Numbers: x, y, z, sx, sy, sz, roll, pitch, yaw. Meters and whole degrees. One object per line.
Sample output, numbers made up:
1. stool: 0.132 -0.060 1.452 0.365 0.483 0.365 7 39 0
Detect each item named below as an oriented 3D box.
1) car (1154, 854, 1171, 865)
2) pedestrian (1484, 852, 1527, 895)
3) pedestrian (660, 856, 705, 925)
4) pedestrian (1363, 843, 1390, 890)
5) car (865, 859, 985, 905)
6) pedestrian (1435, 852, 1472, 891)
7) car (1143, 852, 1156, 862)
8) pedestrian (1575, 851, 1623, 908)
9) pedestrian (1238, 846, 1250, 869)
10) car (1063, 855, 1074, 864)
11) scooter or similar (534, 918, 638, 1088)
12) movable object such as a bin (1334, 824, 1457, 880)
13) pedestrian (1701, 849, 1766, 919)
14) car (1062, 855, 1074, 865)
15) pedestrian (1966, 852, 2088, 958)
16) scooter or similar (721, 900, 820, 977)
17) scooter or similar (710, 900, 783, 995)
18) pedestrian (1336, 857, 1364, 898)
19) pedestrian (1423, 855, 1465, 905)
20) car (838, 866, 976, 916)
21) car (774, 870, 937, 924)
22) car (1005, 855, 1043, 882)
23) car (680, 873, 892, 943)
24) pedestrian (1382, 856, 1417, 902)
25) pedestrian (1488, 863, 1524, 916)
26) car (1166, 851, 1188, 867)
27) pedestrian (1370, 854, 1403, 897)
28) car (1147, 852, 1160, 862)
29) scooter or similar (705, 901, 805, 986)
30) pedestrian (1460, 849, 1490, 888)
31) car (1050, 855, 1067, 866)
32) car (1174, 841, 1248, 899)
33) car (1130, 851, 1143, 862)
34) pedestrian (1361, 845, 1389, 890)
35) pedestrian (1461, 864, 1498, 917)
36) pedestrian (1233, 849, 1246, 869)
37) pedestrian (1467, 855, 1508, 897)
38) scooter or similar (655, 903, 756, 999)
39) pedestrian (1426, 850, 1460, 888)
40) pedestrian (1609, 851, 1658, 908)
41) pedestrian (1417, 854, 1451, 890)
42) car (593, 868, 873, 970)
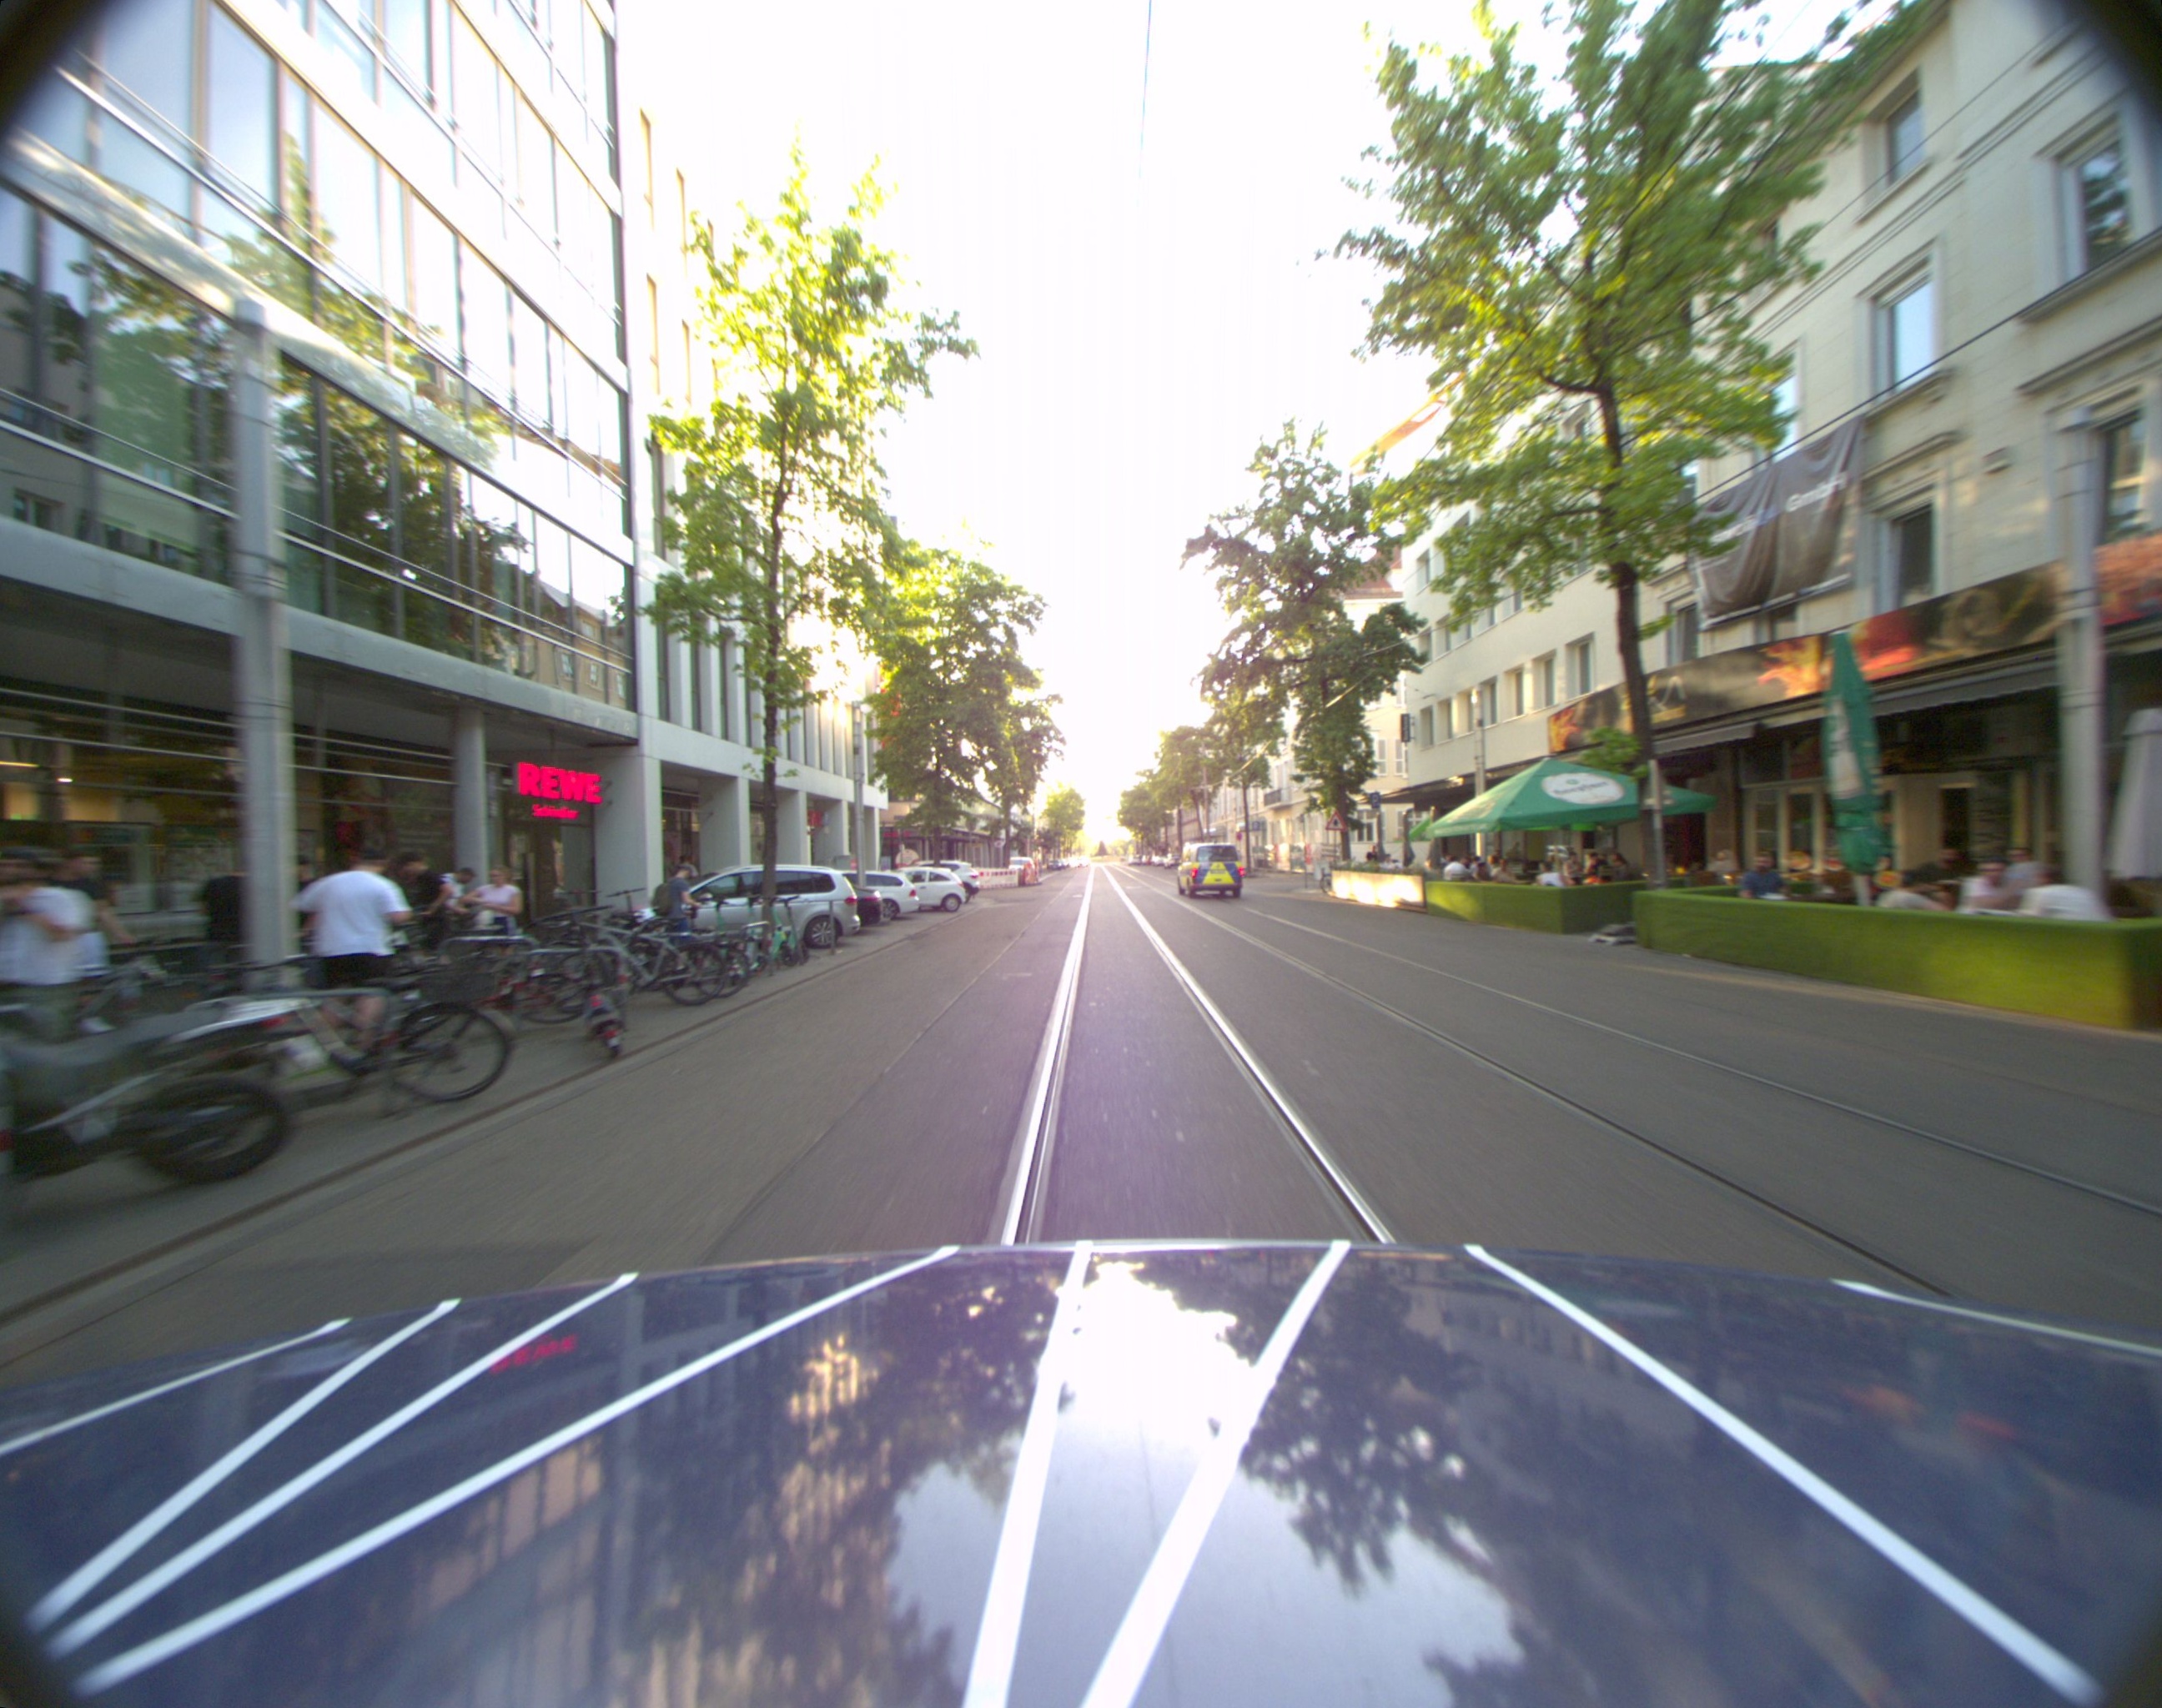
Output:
1. car: 11.316 0.741 106.179 1.998 1.494 4.105 -2 0 1
2. pedestrian: 13.370 0.603 23.949 0.849 1.312 0.882 -2 1 5
3. pedestrian: -10.433 0.946 19.921 0.681 1.760 0.806 -2 -1 1
4. pedestrian: 11.333 0.479 29.153 0.783 1.731 0.640 -3 2 -41
5. car: -6.110 1.066 29.689 4.278 1.662 1.948 1 1 -23
6. pedestrian: 13.203 0.596 26.947 0.887 1.312 0.882 -2 1 4
7. car: 11.939 0.508 132.280 1.998 1.540 4.106 -2 0 3
8. pedestrian: 13.014 0.628 19.102 0.656 1.370 0.765 -2 1 2
9. pedestrian: 14.180 0.305 66.093 0.759 1.874 0.880 -4 1 2
10. car: -2.106 1.002 129.751 1.686 1.471 3.846 -2 0 0
11. scooter or similar: -4.617 1.301 7.051 0.698 1.296 1.389 -1 0 -37
12. movable object such as a bin: 17.003 -0.130 41.298 5.561 2.856 2.643 -1 1 -1
13. pedestrian: 13.363 0.596 15.574 0.656 1.370 0.765 -2 1 2
14. car: -2.092 0.965 124.316 1.902 1.682 4.104 -2 0 -1
15. pedestrian: 12.520 0.654 10.082 0.656 1.323 0.765 -2 1 2
16. scooter or similar: -5.177 1.382 12.700 0.578 1.143 1.404 -1 0 45
17. scooter or similar: -4.821 1.323 11.026 0.483 1.215 1.214 1 1 2
18. pedestrian: 9.399 0.822 26.547 0.694 1.369 0.793 -2 1 3
19. pedestrian: 10.251 0.729 21.502 0.717 1.354 1.012 -2 1 3
20. car: -5.718 1.162 25.045 4.074 1.492 1.791 1 1 -28
21. car: -6.505 1.202 21.933 4.355 1.414 1.825 1 0 -22
22. car: -3.899 0.949 52.513 1.998 1.760 4.671 1 0 3
23. car: -6.768 1.201 17.742 4.355 1.414 1.951 1 1 -21
24. pedestrian: 9.888 0.769 23.646 0.717 1.354 0.872 -2 1 3
25. pedestrian: 10.084 0.836 18.039 0.544 1.211 0.511 -2 1 3
26. car: 11.056 0.518 87.677 1.998 1.727 4.105 -2 0 1
27. pedestrian: 9.953 0.694 24.785 0.717 1.354 0.924 -2 1 3
28. car: 12.022 0.504 126.278 1.998 1.567 4.106 -2 0 3
29. scooter or similar: -5.074 1.363 11.868 1.335 1.175 0.497 -1 0 -36
30. pedestrian: 13.997 0.504 26.994 0.623 1.312 0.842 -2 1 4
31. car: -2.888 0.852 97.437 2.002 1.354 4.105 0 0 1
32. car: 4.816 0.542 28.887 1.998 1.965 4.850 -2 0 1
33. car: 9.324 0.402 128.207 1.998 1.727 4.106 -2 0 3
34. pedestrian: 11.596 0.523 29.957 0.782 1.731 0.640 -3 2 -29
35. pedestrian: 9.470 0.862 18.073 0.587 1.228 0.544 -2 1 3
36. pedestrian: 13.586 0.441 65.118 0.886 1.646 0.762 -2 0 -1
37. pedestrian: 13.399 0.723 25.041 0.887 1.312 0.882 -2 1 4
38. scooter or similar: -5.274 1.328 10.749 0.569 1.198 1.283 0 0 16
39. pedestrian: 13.318 0.542 27.952 0.849 1.312 0.882 -2 1 5
40. pedestrian: 13.709 0.618 18.863 0.656 1.370 0.765 -2 1 2
41. pedestrian: 13.433 0.663 28.953 0.887 1.312 0.882 -2 1 4
42. car: -6.676 1.123 14.768 4.684 1.630 1.950 0 0 -34
